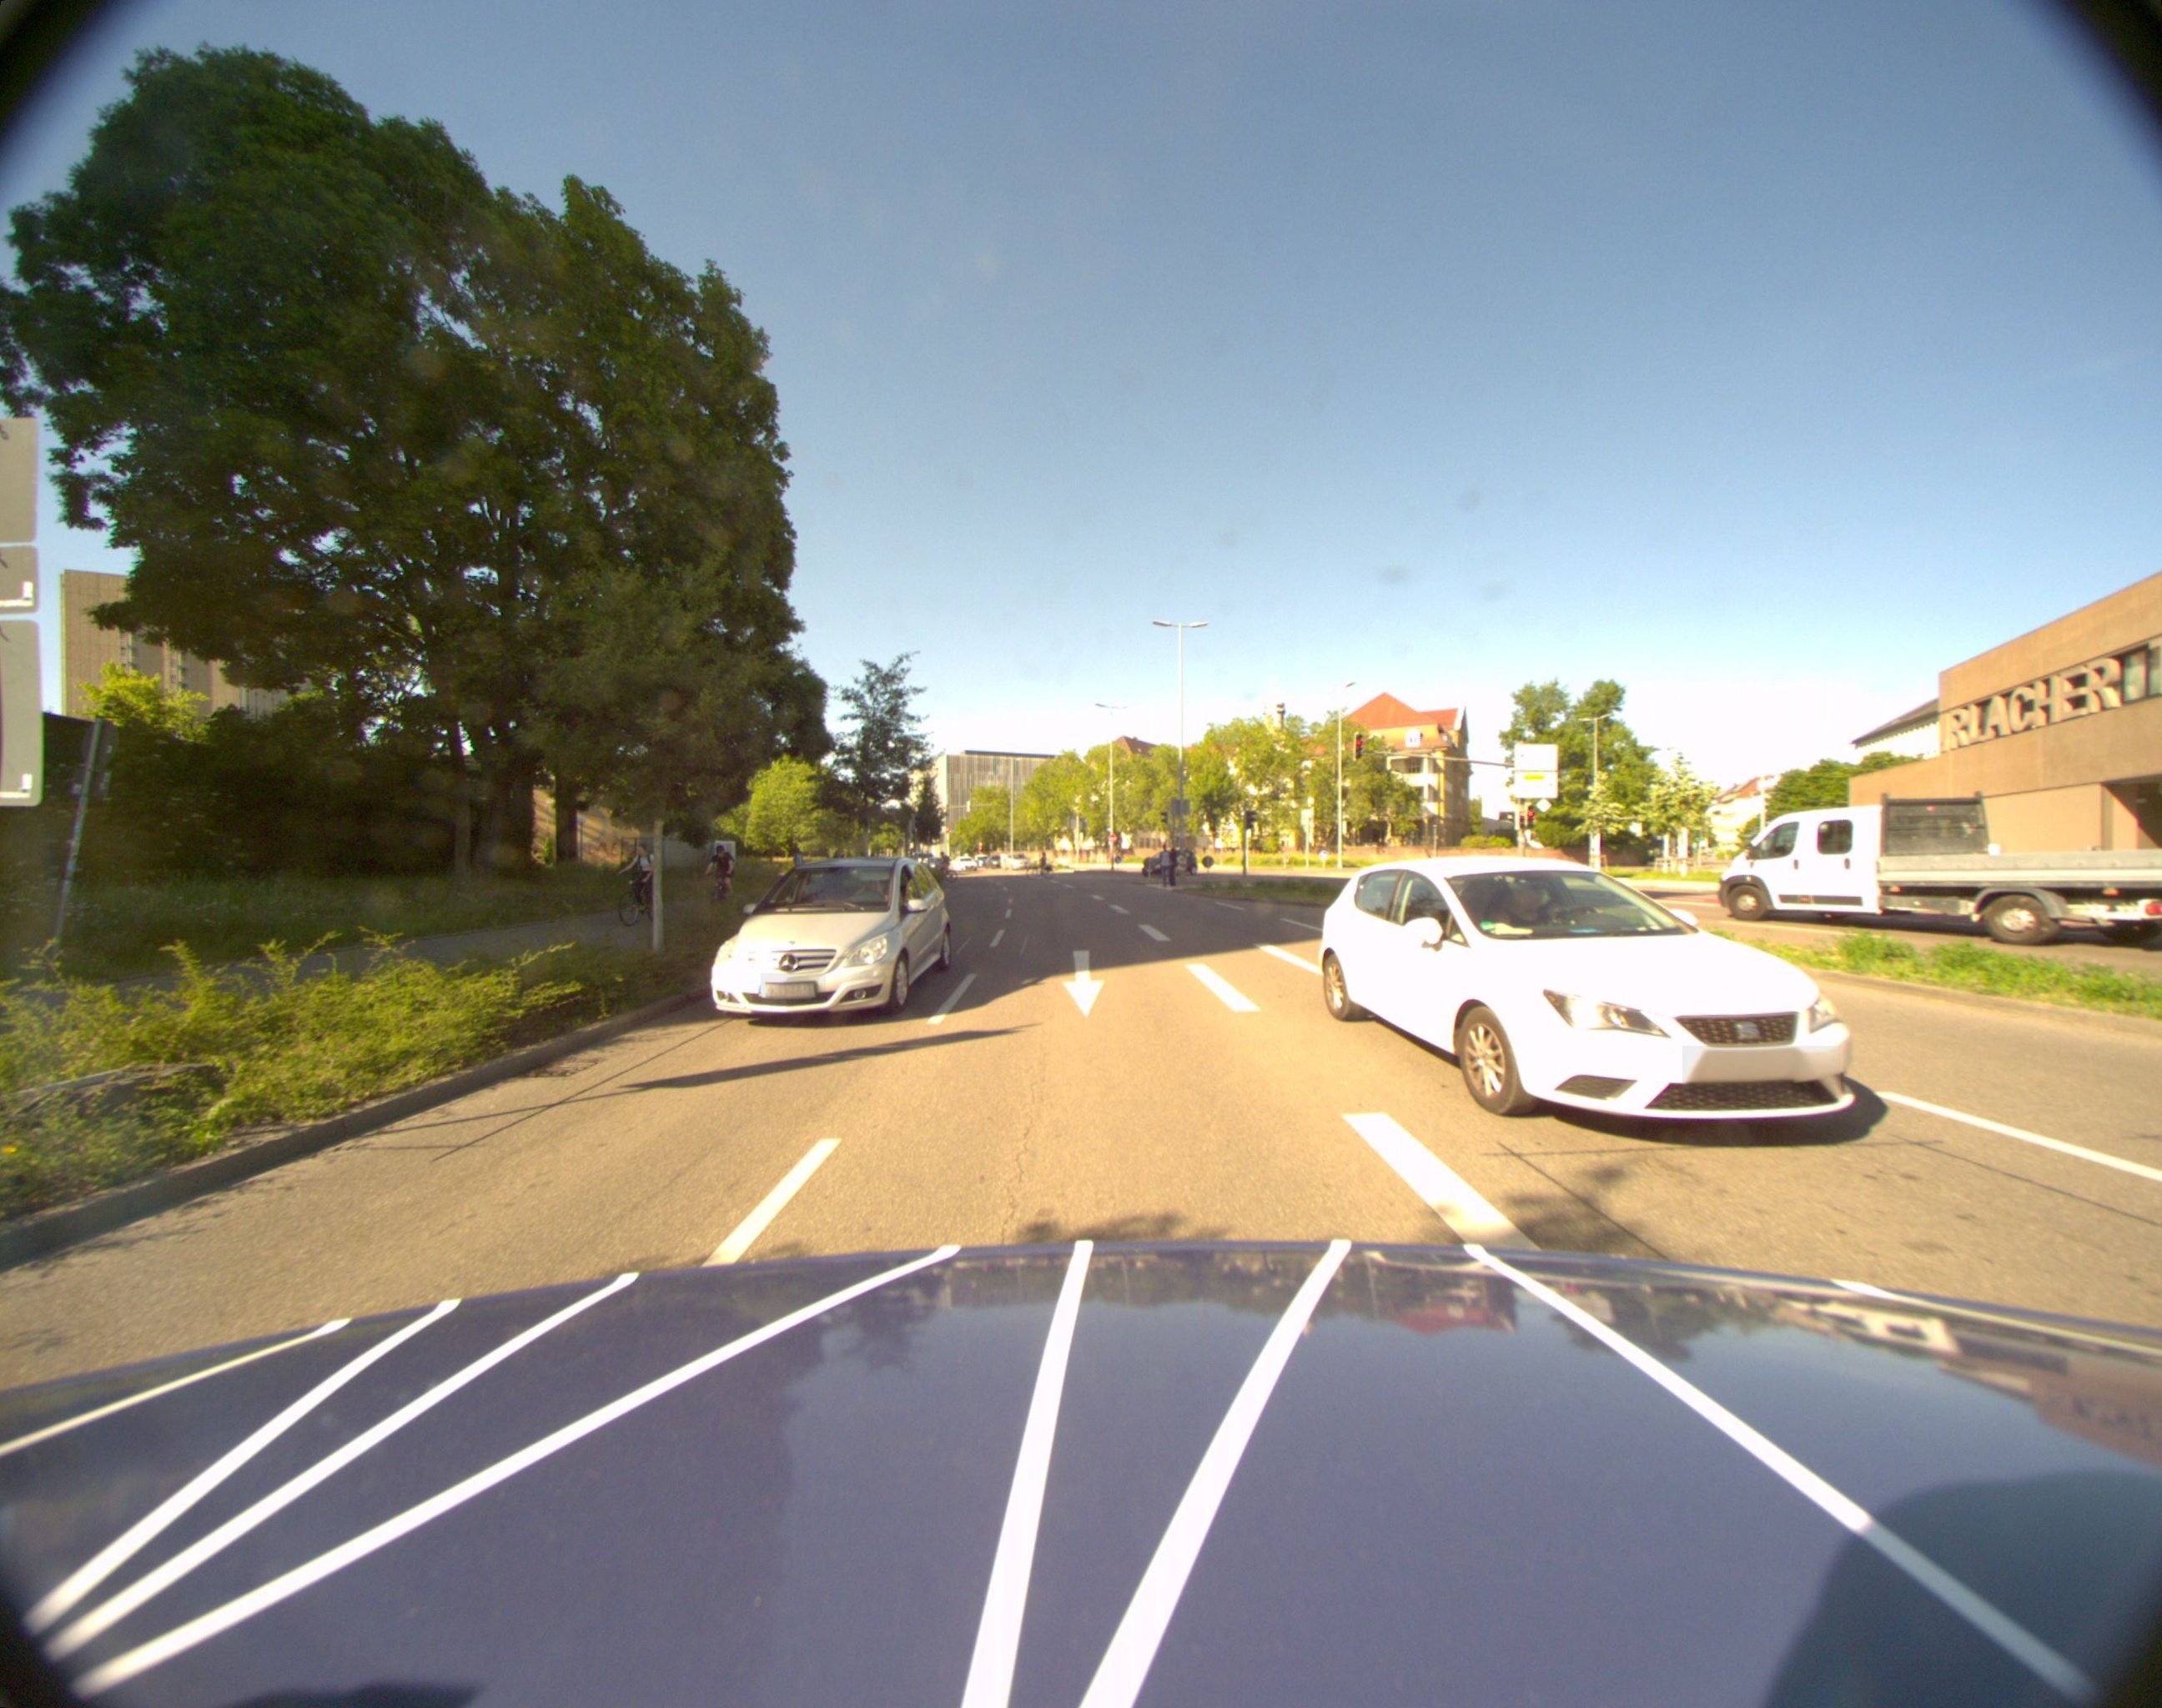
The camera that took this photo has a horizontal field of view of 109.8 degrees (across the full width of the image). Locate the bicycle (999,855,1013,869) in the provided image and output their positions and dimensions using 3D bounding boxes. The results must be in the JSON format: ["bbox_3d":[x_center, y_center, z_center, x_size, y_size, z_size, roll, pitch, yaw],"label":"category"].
[{"bbox_3d":[-6.795,0.728,68.491,0.749,1.158,1.866,0,1,-21],"label":"bicycle"}]

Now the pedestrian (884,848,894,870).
[{"bbox_3d":[-16.130,0.435,63.901,0.731,1.805,0.736,-1,-1,-6],"label":"pedestrian"}]

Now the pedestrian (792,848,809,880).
[{"bbox_3d":[-14.243,0.509,38.621,0.679,1.633,0.734,0,-2,-32],"label":"pedestrian"}]

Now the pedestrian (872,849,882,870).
[{"bbox_3d":[-17.168,0.471,63.921,0.731,1.771,0.736,-1,-1,-6],"label":"pedestrian"}]

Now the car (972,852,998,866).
[{"bbox_3d":[-11.254,0.610,88.858,1.985,1.545,4.716,-2,0,-19],"label":"car"}]

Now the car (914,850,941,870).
[{"bbox_3d":[-15.409,0.600,76.297,1.941,1.941,4.749,-2,0,-19],"label":"car"}]

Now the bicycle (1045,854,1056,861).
[{"bbox_3d":[-5.168,0.625,128.565,0.797,1.069,2.080,0,-2,-38],"label":"bicycle"}]

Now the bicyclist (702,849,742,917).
[{"bbox_3d":[-8.806,0.702,18.656,0.643,1.635,0.776,0,0,-6],"label":"bicyclist"}]

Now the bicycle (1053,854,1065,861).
[{"bbox_3d":[-3.674,0.535,126.767,0.797,1.069,2.080,0,-2,-38],"label":"bicycle"}]

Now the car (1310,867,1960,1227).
[{"bbox_3d":[2.996,0.882,5.199,1.695,1.427,3.736,-3,0,0],"label":"car"}]

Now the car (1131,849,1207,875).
[{"bbox_3d":[5.418,0.490,46.673,4.305,1.464,1.996,0,-2,-31],"label":"car"}]

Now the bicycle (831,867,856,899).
[{"bbox_3d":[-9.357,1.119,29.975,0.643,1.158,1.868,-2,1,-9],"label":"bicycle"}]

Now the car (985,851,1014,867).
[{"bbox_3d":[-8.777,0.549,81.763,1.985,1.545,4.716,-2,0,-19],"label":"car"}]

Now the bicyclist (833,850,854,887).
[{"bbox_3d":[-9.364,0.556,29.977,0.643,1.436,0.952,-1,1,-9],"label":"bicyclist"}]

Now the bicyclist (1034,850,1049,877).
[{"bbox_3d":[-2.489,0.606,47.963,0.777,1.653,0.642,-1,0,-16],"label":"bicyclist"}]

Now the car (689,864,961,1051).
[{"bbox_3d":[-2.676,0.967,9.197,1.771,1.584,4.638,-2,0,-2],"label":"car"}]

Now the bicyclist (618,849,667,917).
[{"bbox_3d":[-9.437,0.610,16.375,0.643,1.436,0.776,1,1,-6],"label":"bicyclist"}]

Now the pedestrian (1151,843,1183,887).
[{"bbox_3d":[3.636,0.463,32.097,1.097,1.822,0.754,-2,1,-32],"label":"pedestrian"}]

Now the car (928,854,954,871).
[{"bbox_3d":[-12.832,0.794,69.613,1.706,1.433,3.993,-2,0,-19],"label":"car"}]

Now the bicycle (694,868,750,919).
[{"bbox_3d":[-8.809,0.945,18.721,0.643,1.158,1.869,0,0,-5],"label":"bicycle"}]

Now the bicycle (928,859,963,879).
[{"bbox_3d":[-8.082,0.890,45.299,1.970,1.158,0.777,0,-1,-24],"label":"bicycle"}]

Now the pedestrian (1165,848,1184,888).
[{"bbox_3d":[3.799,0.575,30.781,0.681,1.603,0.720,-1,1,11],"label":"pedestrian"}]

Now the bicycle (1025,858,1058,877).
[{"bbox_3d":[-2.470,0.861,47.956,1.969,1.158,0.642,0,-1,-16],"label":"bicycle"}]

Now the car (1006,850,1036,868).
[{"bbox_3d":[-5.780,0.441,73.106,1.791,1.615,4.309,-2,0,-20],"label":"car"}]

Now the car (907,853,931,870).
[{"bbox_3d":[-17.967,0.825,84.041,1.941,1.789,4.353,-2,0,-19],"label":"car"}]

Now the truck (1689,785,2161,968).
[{"bbox_3d":[14.433,0.256,12.980,2.221,2.300,6.880,-1,0,-5],"label":"truck"}]

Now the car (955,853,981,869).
[{"bbox_3d":[-10.932,0.678,73.412,2.001,1.460,3.994,-1,0,-15],"label":"car"}]

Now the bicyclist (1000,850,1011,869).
[{"bbox_3d":[-6.768,0.481,68.390,0.747,1.675,0.976,0,2,-21],"label":"bicyclist"}]

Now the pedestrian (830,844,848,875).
[{"bbox_3d":[-12.962,0.282,40.711,0.679,1.633,0.734,0,-2,-42],"label":"pedestrian"}]

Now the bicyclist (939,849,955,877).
[{"bbox_3d":[-8.005,0.560,45.330,0.777,1.653,0.784,-1,0,-24],"label":"bicyclist"}]

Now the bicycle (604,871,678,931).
[{"bbox_3d":[-9.449,0.985,16.395,0.643,1.158,1.869,1,0,-5],"label":"bicycle"}]
